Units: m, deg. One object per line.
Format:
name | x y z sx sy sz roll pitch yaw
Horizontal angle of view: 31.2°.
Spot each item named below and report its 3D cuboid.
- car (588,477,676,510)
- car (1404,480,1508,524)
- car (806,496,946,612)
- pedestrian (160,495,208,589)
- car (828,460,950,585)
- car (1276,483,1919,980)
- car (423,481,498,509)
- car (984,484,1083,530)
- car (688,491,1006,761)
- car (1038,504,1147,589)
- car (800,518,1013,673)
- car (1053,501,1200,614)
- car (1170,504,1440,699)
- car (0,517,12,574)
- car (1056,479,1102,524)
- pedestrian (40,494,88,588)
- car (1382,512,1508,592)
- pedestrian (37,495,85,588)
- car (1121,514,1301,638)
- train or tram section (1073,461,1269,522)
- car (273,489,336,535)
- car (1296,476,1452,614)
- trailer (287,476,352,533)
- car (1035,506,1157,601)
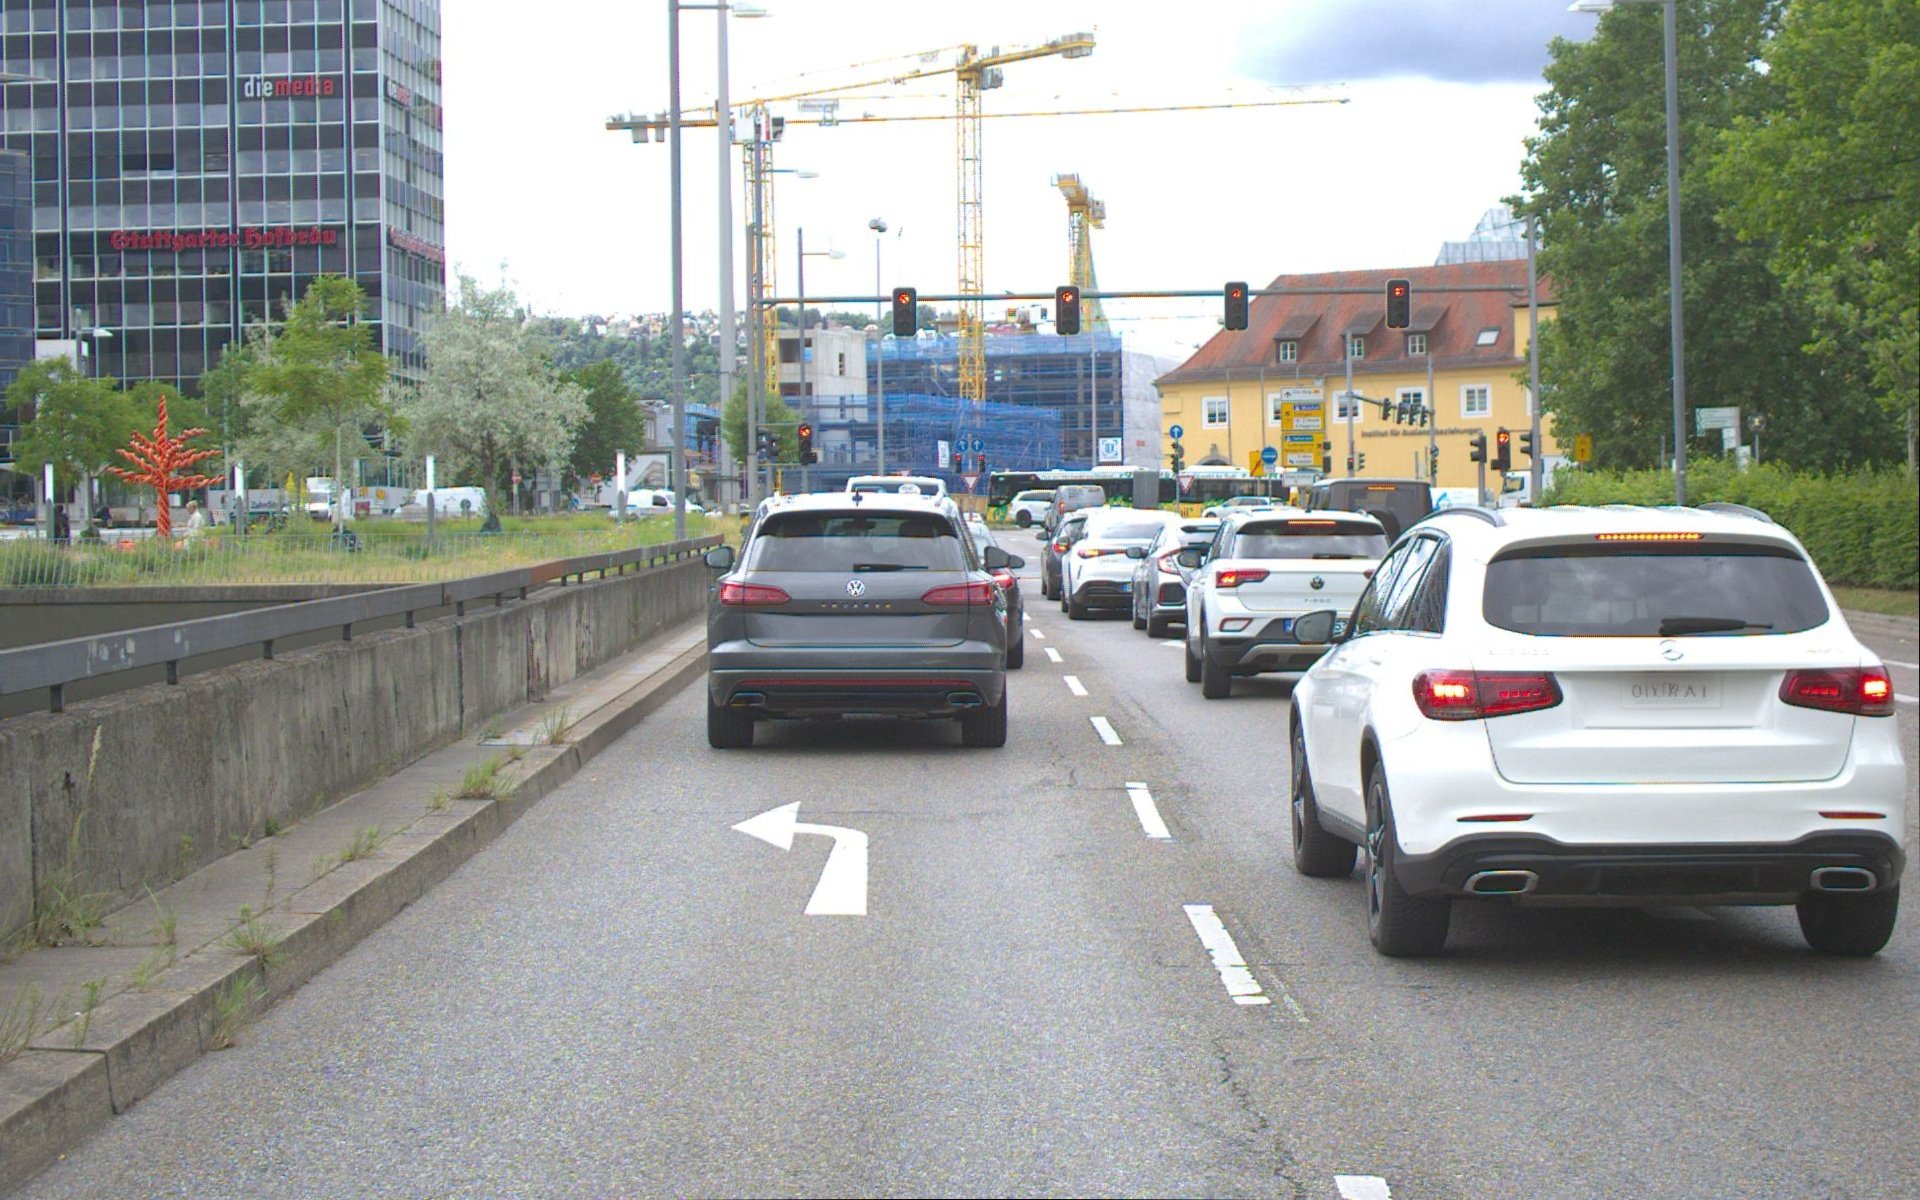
car | -16.328 -5.300 171.085 4.108 1.605 1.826 2 0 35
car | 23.795 -4.694 164.957 4.454 2.007 1.996 2 0 34
car | -1.212 -0.709 50.777 1.951 1.594 3.931 1 2 -1
pedestrian | -16.900 -1.267 74.848 0.860 2.006 0.629 -1 3 -1
car | -1.195 -1.328 58.347 1.951 2.011 3.931 1 2 -1
car | 2.395 0.392 13.641 1.926 1.648 4.490 0 1 1
car | -29.466 -6.200 202.941 3.992 1.563 1.834 1 0 26
car | 3.277 -4.146 153.201 3.996 2.007 1.995 2 0 39
car | -0.731 0.107 23.479 1.951 1.646 4.000 1 2 -1
car | 2.434 -1.006 63.891 1.926 1.524 4.048 0 1 1
car | -0.521 -0.089 33.993 1.951 1.379 3.931 1 2 -1
car | 2.317 -0.622 48.786 1.926 1.524 4.490 0 1 1
car | 2.888 -0.031 29.662 1.926 1.545 4.490 0 1 1
car | -32.664 -1.757 112.420 2.174 1.848 4.737 -1 2 -2
car | 4.522 -3.749 131.188 1.619 1.622 4.000 1 0 0
pedestrian | -19.488 -1.296 74.800 0.790 2.006 0.837 -2 3 -28
car | 9.224 -0.934 65.629 1.757 1.442 3.634 1 1 -2
pedestrian | -19.771 -1.300 75.619 0.790 2.006 0.837 -2 3 -28
car | 3.013 -0.320 42.064 1.926 1.427 4.490 0 1 1
train or tram section | 10.876 -5.630 178.275 10.418 2.999 2.591 2 0 37
car | -30.308 -4.097 159.093 1.993 2.006 4.692 0 3 0
car | 6.361 -0.855 53.194 1.910 2.007 4.012 1 1 0
trailer | -30.568 -4.567 164.180 2.037 2.595 5.509 1 2 0
car | 2.228 -0.783 57.281 1.926 1.524 4.048 0 1 1
